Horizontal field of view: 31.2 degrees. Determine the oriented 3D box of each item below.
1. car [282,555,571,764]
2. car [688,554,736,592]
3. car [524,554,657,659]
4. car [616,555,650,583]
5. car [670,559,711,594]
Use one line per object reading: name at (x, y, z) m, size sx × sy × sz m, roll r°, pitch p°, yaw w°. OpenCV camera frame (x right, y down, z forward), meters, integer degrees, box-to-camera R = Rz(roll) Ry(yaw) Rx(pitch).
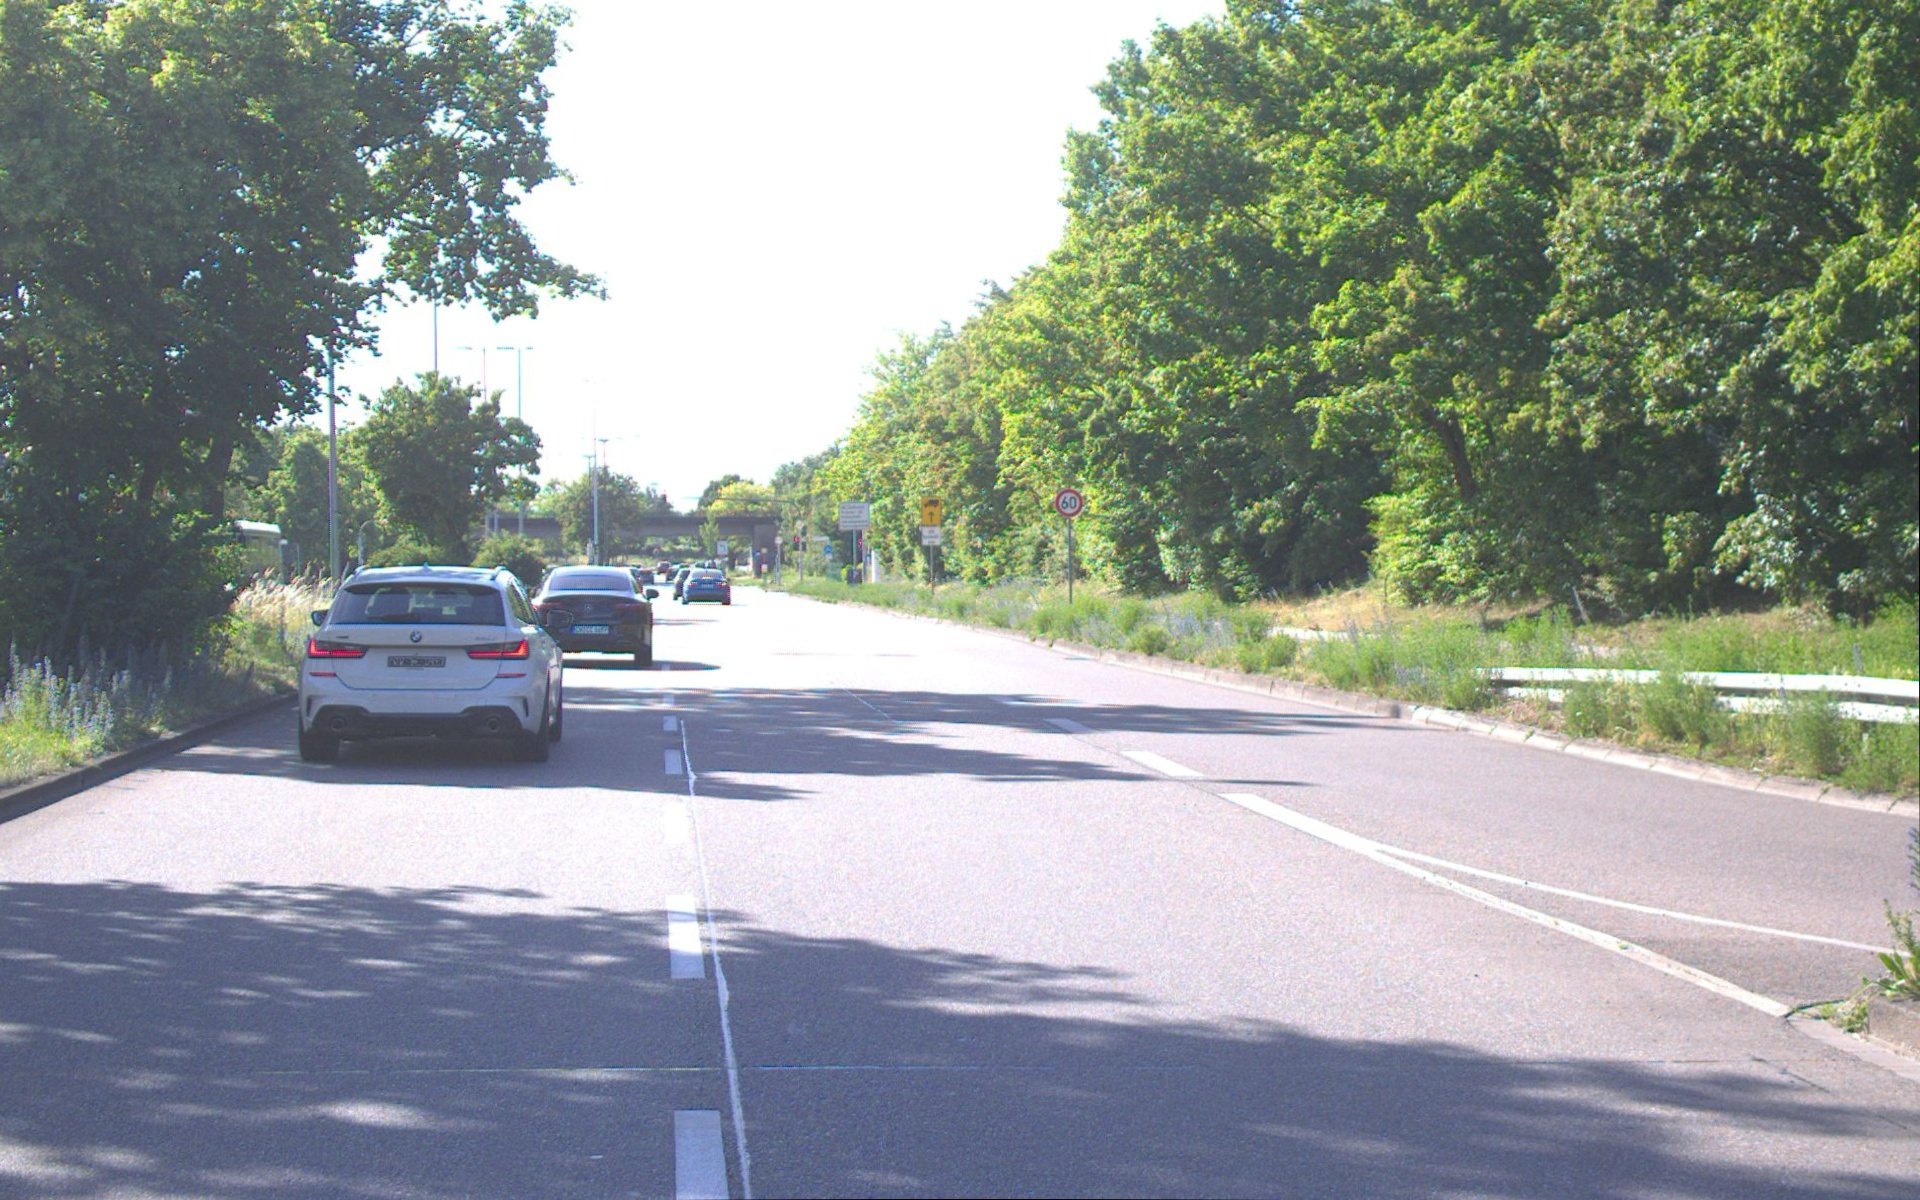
car at (-4.038, 0.396, 26.649) m, size 1.861 × 1.450 × 4.548 m, roll 1°, pitch 1°, yaw -4°
car at (-9.967, -1.090, 137.964) m, size 1.861 × 1.494 × 4.337 m, roll 0°, pitch 1°, yaw -5°
car at (-5.463, 0.063, 51.129) m, size 1.861 × 1.450 × 4.548 m, roll -1°, pitch 1°, yaw -5°
car at (-18.224, -1.733, 191.864) m, size 1.861 × 1.560 × 4.548 m, roll 0°, pitch 1°, yaw -5°
car at (-12.571, -1.110, 160.261) m, size 1.771 × 1.550 × 3.834 m, roll -1°, pitch 1°, yaw -7°
